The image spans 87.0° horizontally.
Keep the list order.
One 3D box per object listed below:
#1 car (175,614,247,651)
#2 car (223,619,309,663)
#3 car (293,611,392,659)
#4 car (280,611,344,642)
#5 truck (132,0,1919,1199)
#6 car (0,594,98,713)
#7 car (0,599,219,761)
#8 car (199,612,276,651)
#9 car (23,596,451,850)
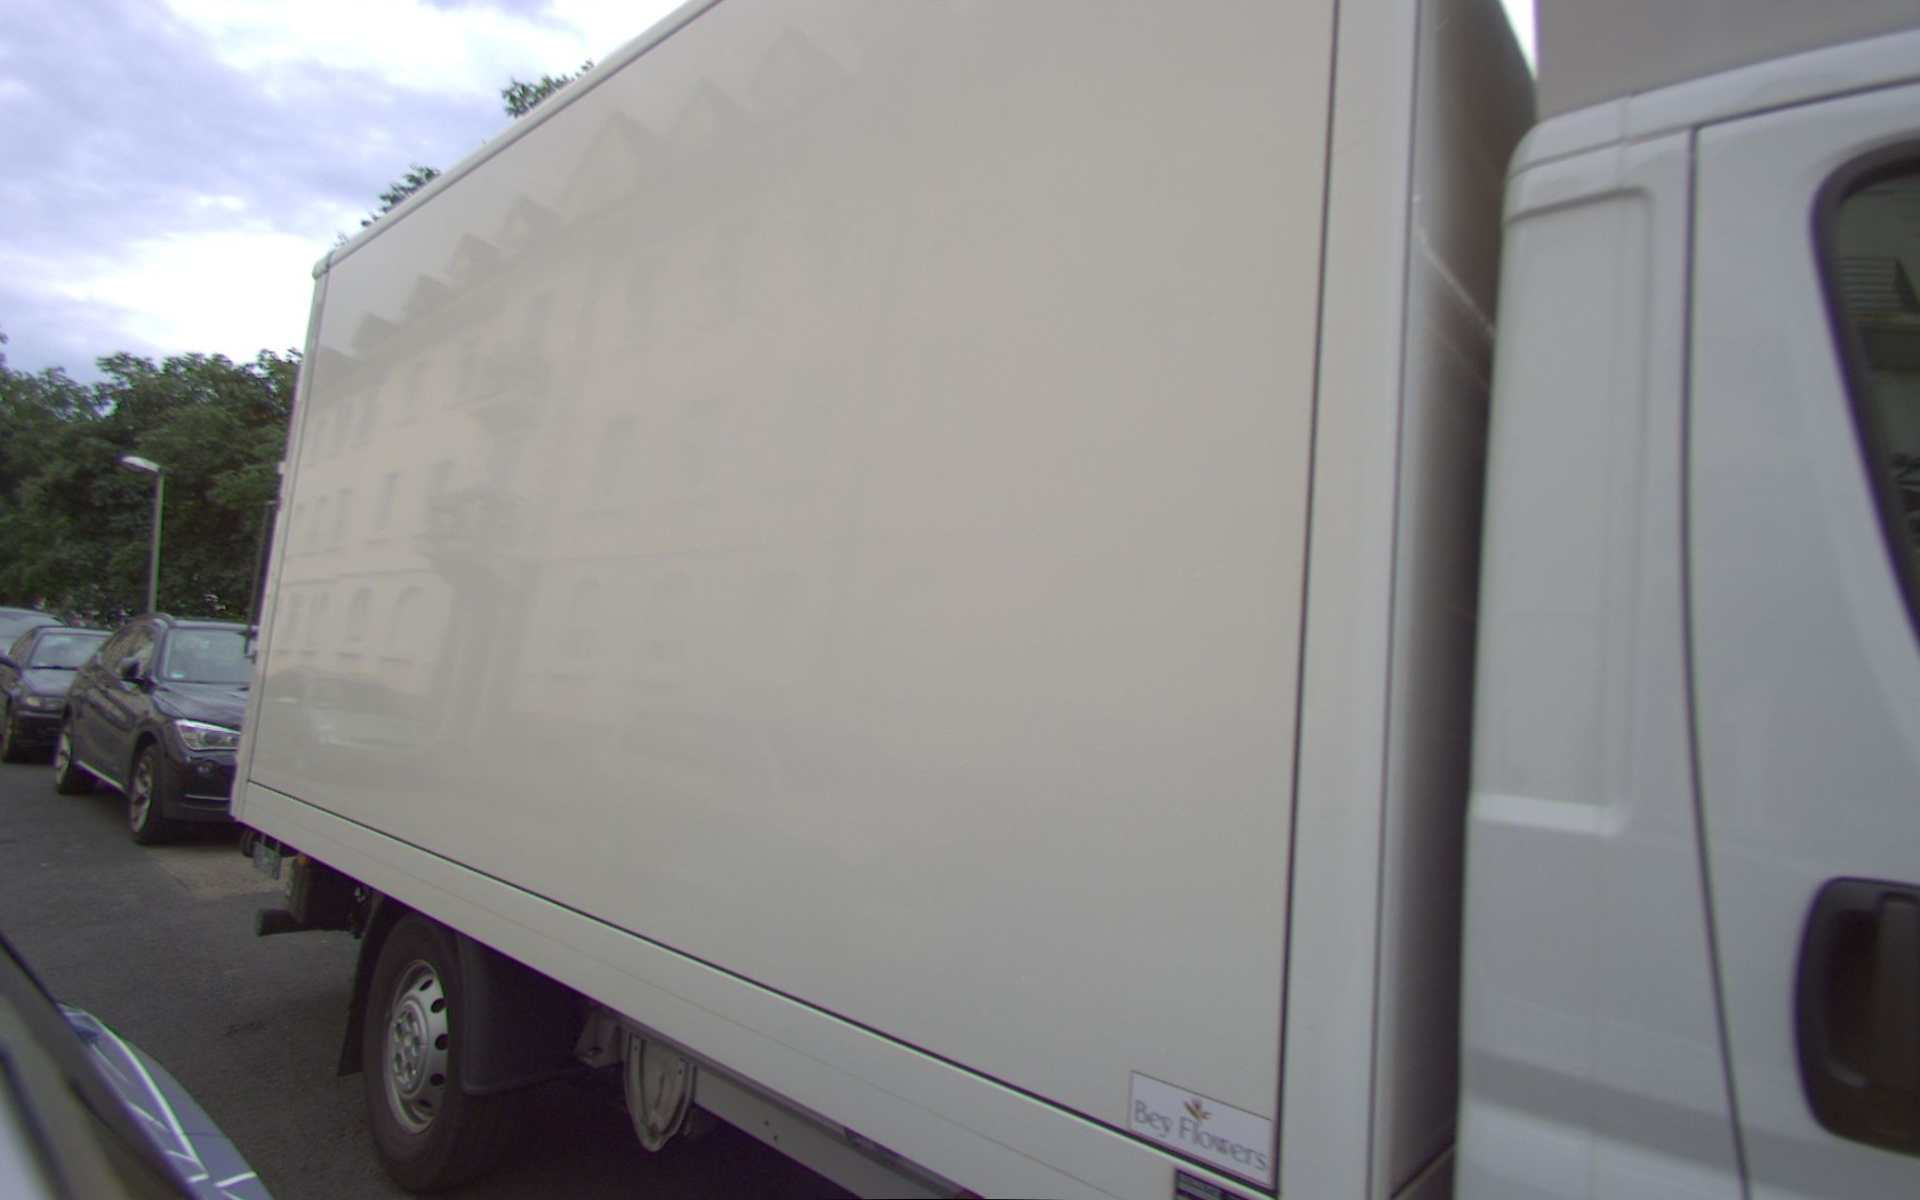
[{"bbox_3d":[-35.951,1.515,48.545,4.004,1.652,1.944,0,-1,41],"label":"car"},{"bbox_3d":[-28.154,1.617,41.017,4.004,1.652,1.944,0,-1,41],"label":"car"},{"bbox_3d":[-22.499,1.229,36.825,4.004,1.652,1.944,0,-1,41],"label":"car"},{"bbox_3d":[-35.535,1.426,55.466,4.004,1.652,1.944,0,-1,41],"label":"car"},{"bbox_3d":[0.374,0.056,2.579,7.108,2.979,2.412,-1,-7,41],"label":"truck"},{"bbox_3d":[-15.643,0.813,16.325,4.310,1.721,1.762,-1,-6,39],"label":"car"},{"bbox_3d":[-10.058,0.794,11.494,4.147,1.526,1.623,0,-2,39],"label":"car"},{"bbox_3d":[-32.328,1.362,45.240,4.004,1.652,1.944,0,-1,41],"label":"car"},{"bbox_3d":[-5.881,0.824,8.050,4.147,1.526,1.623,-1,-6,39],"label":"car"}]
